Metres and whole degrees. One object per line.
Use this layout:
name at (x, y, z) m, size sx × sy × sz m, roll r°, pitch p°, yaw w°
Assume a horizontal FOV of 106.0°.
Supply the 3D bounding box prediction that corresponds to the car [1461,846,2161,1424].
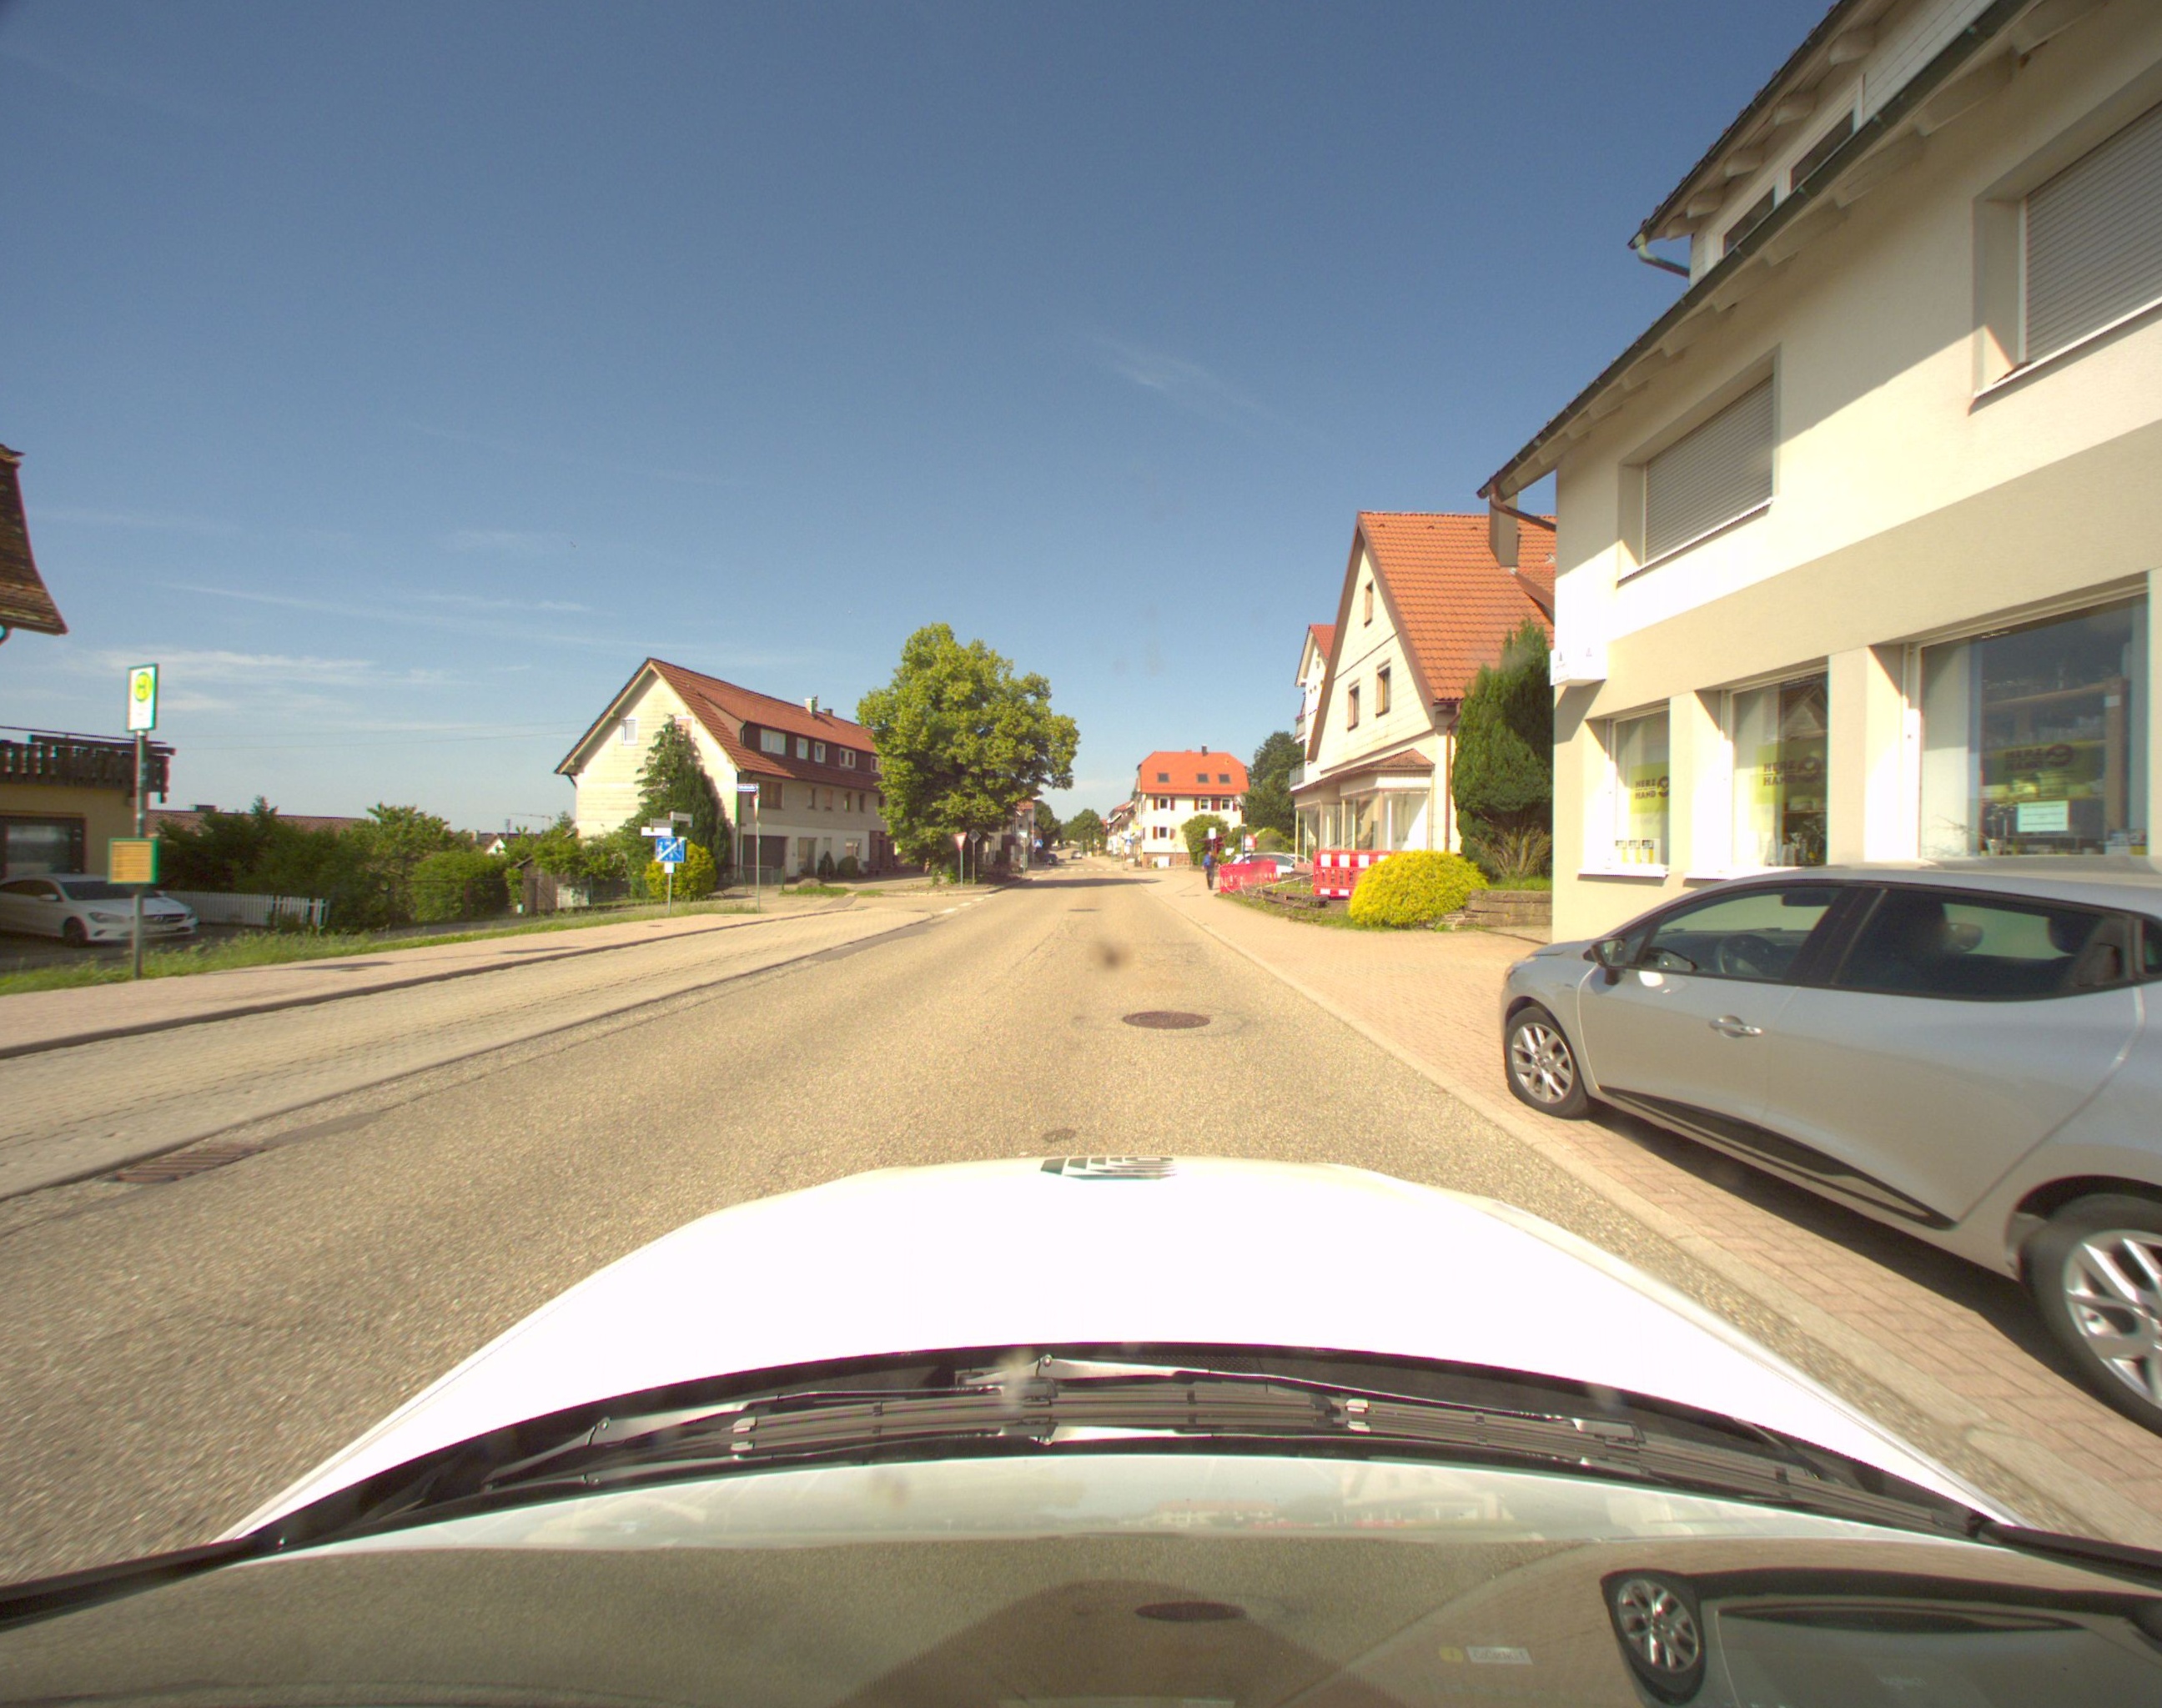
car at (3.425, 0.693, 3.465) m, size 1.631 × 1.420 × 3.931 m, roll -1°, pitch 0°, yaw -3°

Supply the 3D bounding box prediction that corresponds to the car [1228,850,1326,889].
car at (8.109, 0.611, 33.784) m, size 3.834 × 1.558 × 1.970 m, roll 0°, pitch 0°, yaw 13°

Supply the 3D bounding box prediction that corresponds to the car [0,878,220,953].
car at (-22.488, 1.347, 18.591) m, size 4.274 × 1.511 × 1.805 m, roll 1°, pitch -2°, yaw 11°

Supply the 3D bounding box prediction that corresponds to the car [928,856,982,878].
car at (-9.821, 1.047, 63.748) m, size 3.733 × 1.455 × 1.823 m, roll -3°, pitch -5°, yaw 13°

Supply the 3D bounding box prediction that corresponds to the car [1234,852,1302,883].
car at (9.452, 0.671, 41.289) m, size 3.215 × 1.469 × 1.632 m, roll -1°, pitch 0°, yaw 8°

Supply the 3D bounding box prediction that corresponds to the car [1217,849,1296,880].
car at (9.483, 0.547, 44.195) m, size 3.970 × 1.548 × 1.882 m, roll -1°, pitch 0°, yaw 3°

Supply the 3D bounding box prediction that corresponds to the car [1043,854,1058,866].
car at (-4.058, 0.764, 109.445) m, size 1.667 × 1.533 × 3.536 m, roll 4°, pitch 0°, yaw 1°

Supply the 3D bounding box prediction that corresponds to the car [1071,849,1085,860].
car at (-0.693, 0.192, 160.498) m, size 2.490 × 2.013 × 4.300 m, roll -2°, pitch 0°, yaw -3°

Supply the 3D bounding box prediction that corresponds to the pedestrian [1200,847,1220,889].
pedestrian at (5.641, 0.612, 35.609) m, size 0.795 × 1.784 × 0.981 m, roll -1°, pitch 0°, yaw 6°

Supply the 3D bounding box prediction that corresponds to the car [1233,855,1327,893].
car at (8.824, 0.852, 36.374) m, size 3.961 × 1.549 × 1.743 m, roll 1°, pitch 0°, yaw 11°
